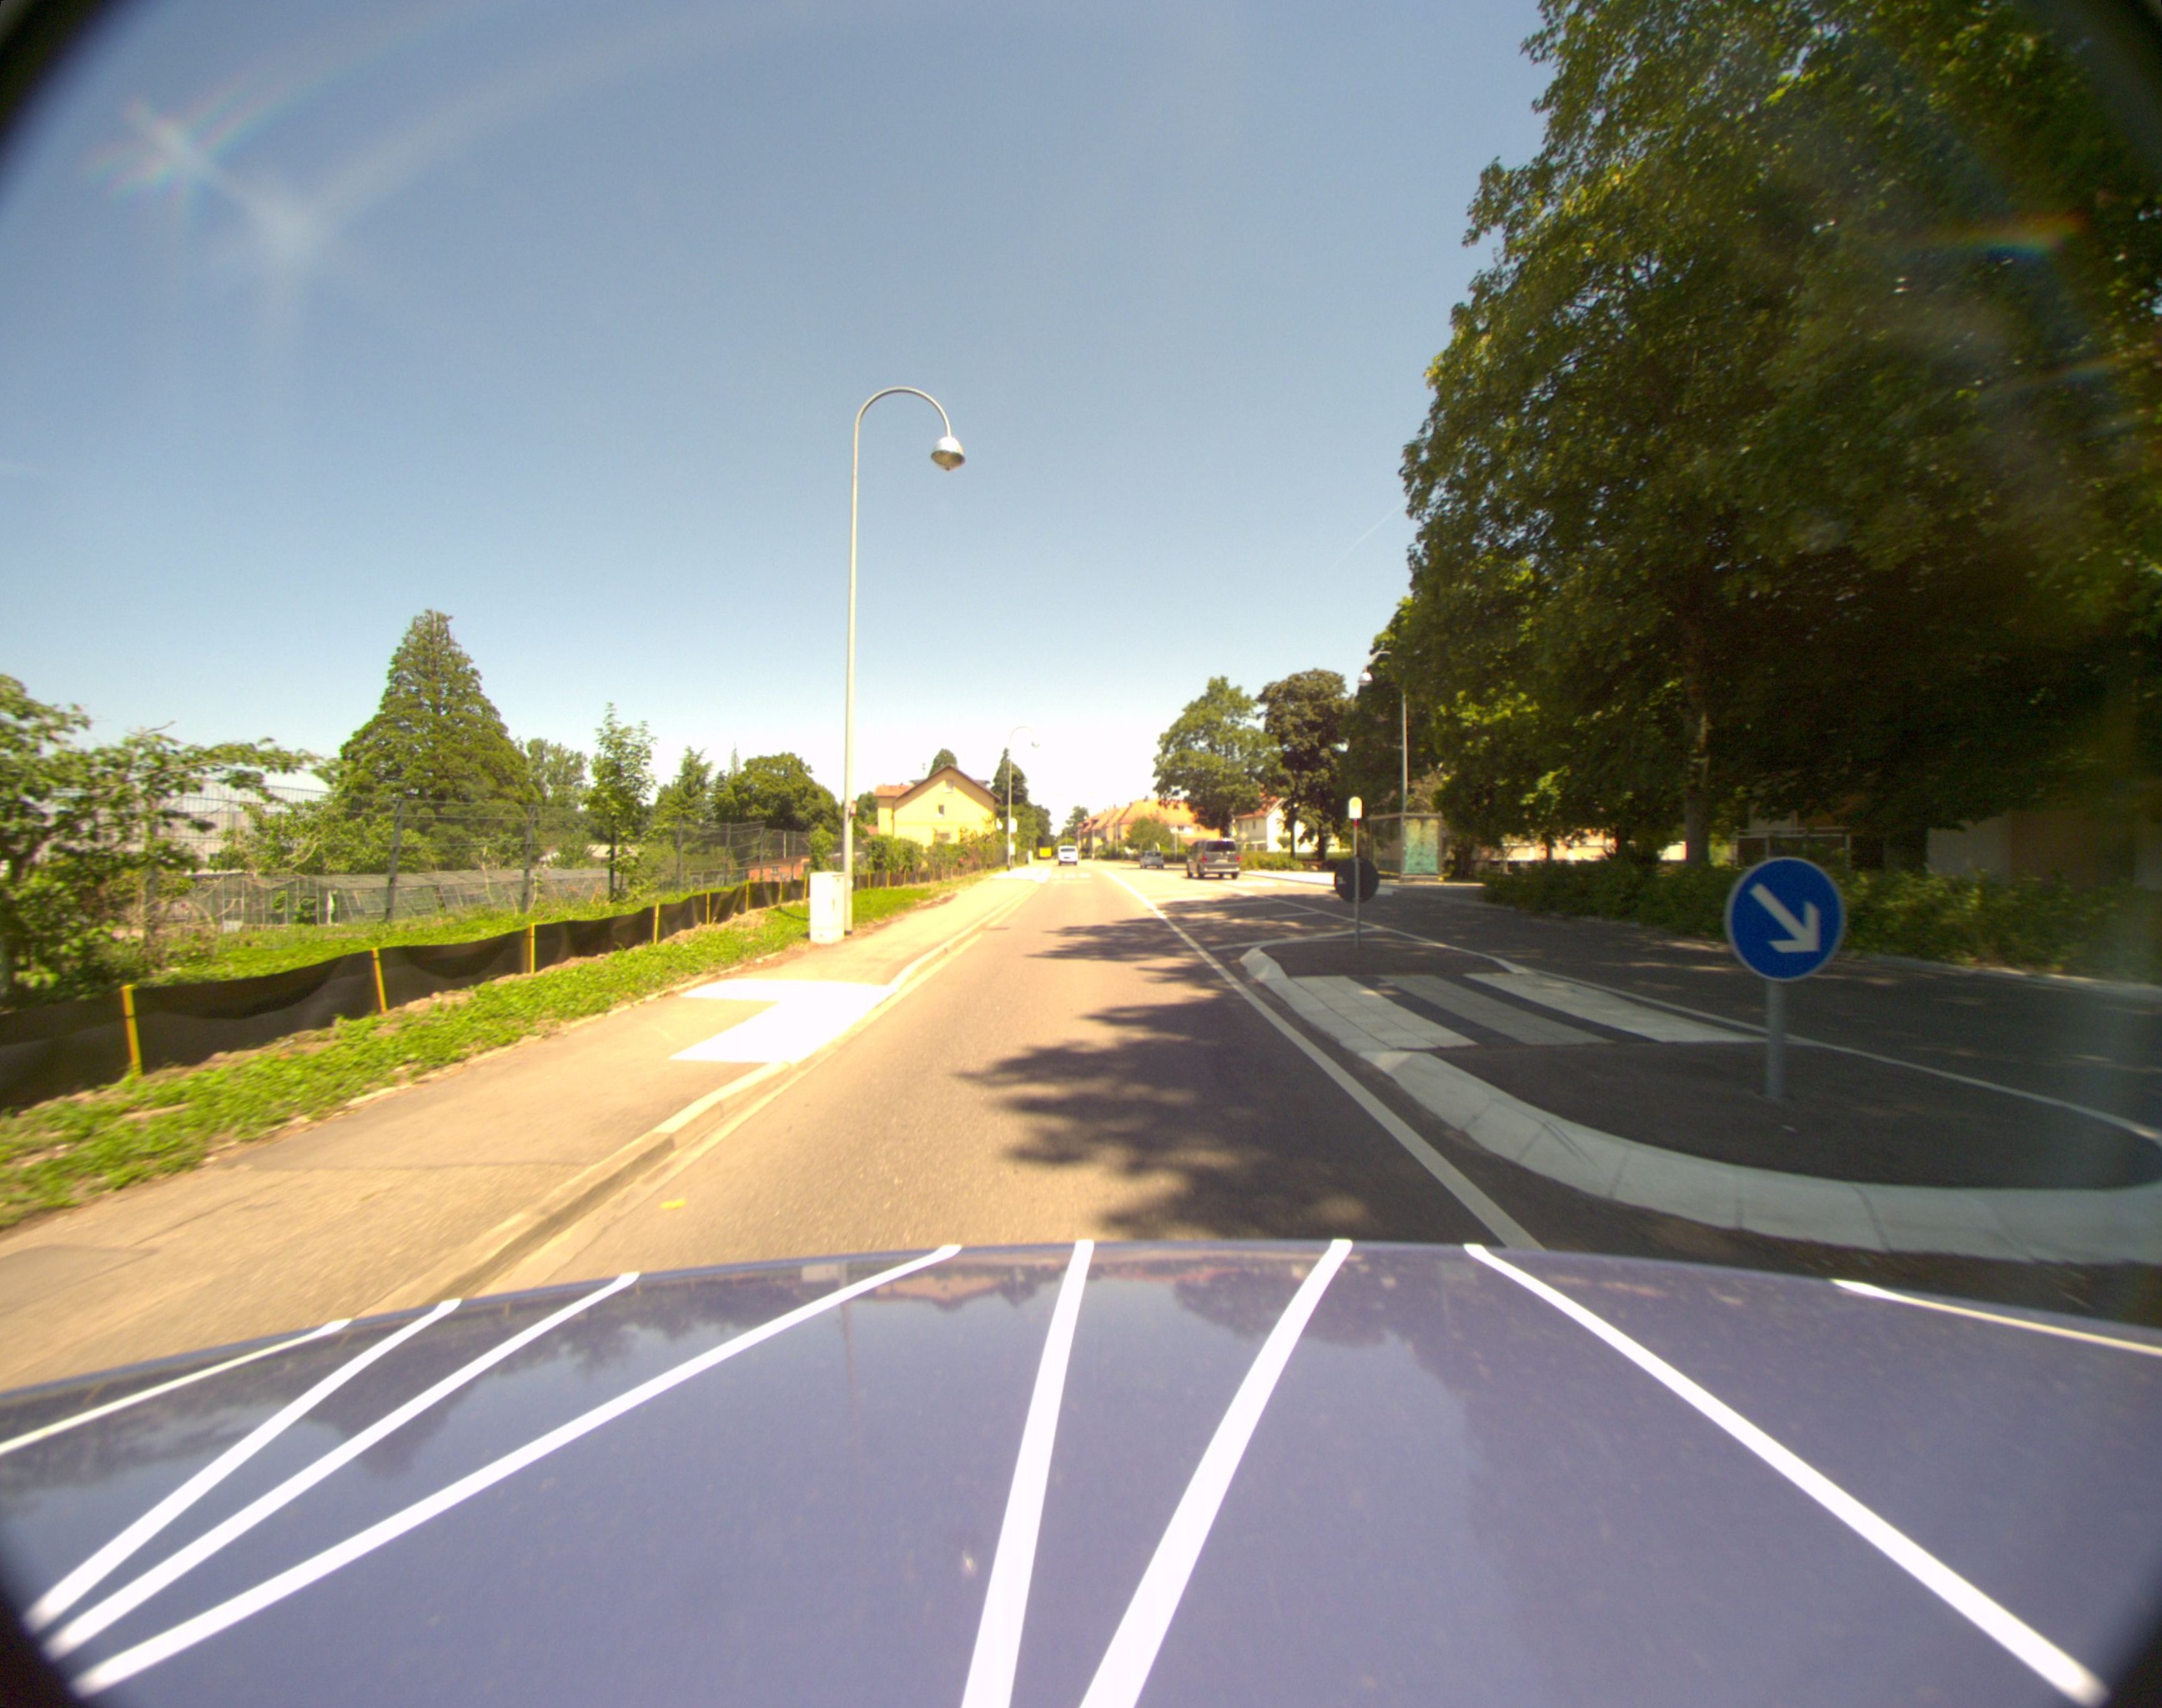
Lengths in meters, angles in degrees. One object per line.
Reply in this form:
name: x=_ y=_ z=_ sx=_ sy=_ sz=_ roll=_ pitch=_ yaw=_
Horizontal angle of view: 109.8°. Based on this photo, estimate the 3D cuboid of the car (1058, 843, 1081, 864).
car: x=-1.203 y=-0.006 z=78.788 sx=1.999 sy=2.001 sz=4.385 roll=-2 pitch=-1 yaw=-4

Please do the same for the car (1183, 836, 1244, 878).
car: x=6.515 y=0.067 z=37.876 sx=1.999 sy=1.899 sz=4.989 roll=-2 pitch=1 yaw=-1

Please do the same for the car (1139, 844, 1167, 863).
car: x=5.929 y=-0.001 z=63.242 sx=1.695 sy=1.451 sz=3.638 roll=-2 pitch=-1 yaw=-4

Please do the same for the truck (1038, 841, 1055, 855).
truck: x=-6.173 y=-1.029 z=135.868 sx=2.020 sy=2.295 sz=6.171 roll=-4 pitch=-1 yaw=-10
